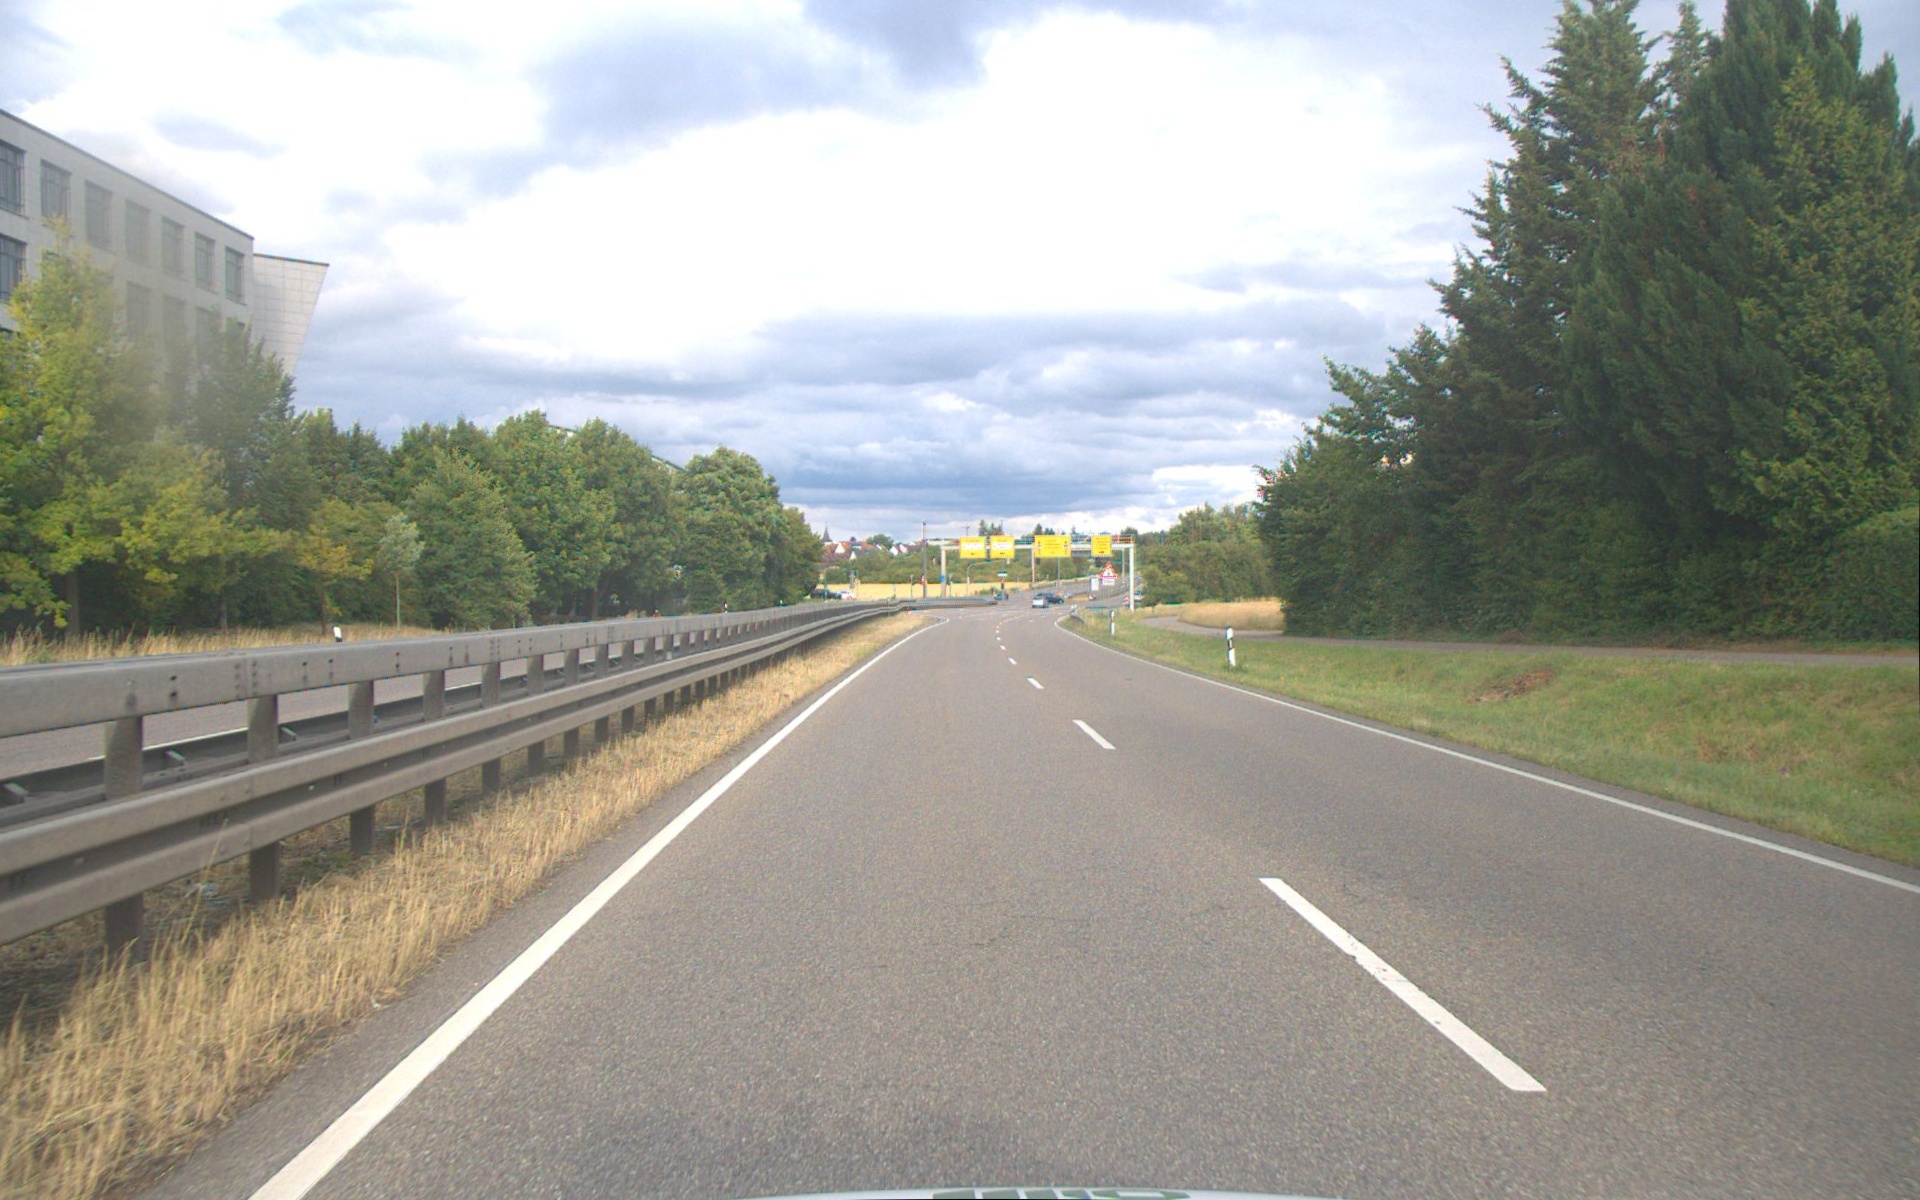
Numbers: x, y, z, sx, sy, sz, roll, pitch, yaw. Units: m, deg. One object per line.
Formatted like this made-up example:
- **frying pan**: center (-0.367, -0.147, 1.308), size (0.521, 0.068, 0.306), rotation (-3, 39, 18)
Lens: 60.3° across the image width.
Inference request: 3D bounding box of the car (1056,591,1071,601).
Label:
- **car**: center (16.012, -0.643, 256.555), size (1.759, 1.583, 4.003), rotation (0, 0, 13)

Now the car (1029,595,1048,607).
- **car**: center (10.183, 0.114, 214.835), size (1.759, 1.583, 4.003), rotation (0, 0, 13)
